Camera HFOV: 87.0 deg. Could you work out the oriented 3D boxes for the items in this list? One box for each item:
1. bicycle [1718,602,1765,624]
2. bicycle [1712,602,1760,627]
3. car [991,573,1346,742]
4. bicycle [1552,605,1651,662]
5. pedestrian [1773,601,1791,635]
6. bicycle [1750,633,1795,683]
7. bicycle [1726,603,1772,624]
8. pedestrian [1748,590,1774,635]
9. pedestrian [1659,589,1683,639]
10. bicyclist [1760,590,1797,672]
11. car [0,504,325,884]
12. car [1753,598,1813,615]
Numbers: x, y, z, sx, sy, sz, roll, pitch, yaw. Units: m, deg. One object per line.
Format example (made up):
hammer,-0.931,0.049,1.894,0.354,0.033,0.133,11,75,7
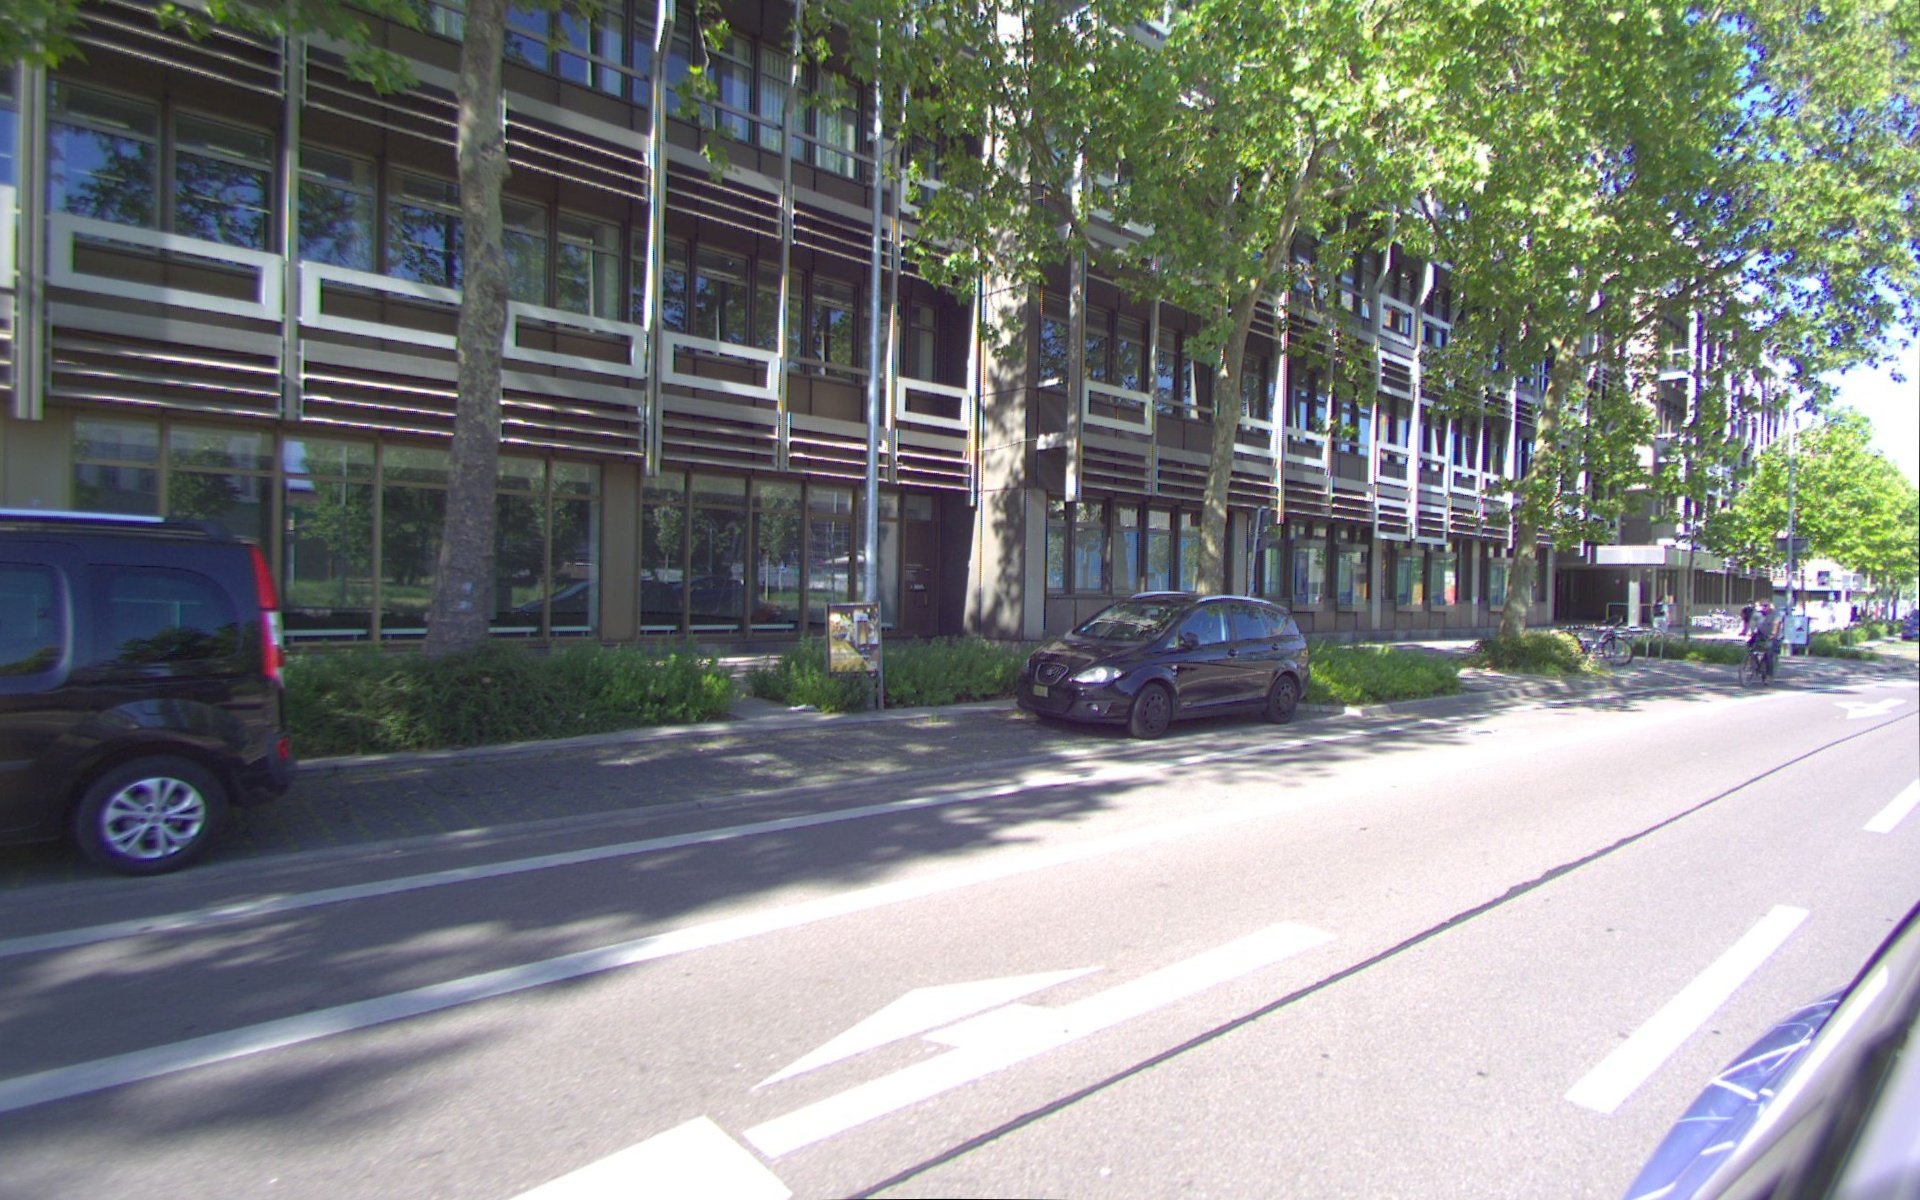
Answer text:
bicycle,40.633,0.682,52.638,0.419,1.023,1.863,1,3,-39
bicycle,39.652,0.729,51.753,0.419,1.111,1.863,1,3,-39
car,2.685,0.586,12.388,4.552,1.663,1.709,1,2,-39
bicycle,15.734,0.809,24.868,0.569,1.252,1.939,1,2,-43
pedestrian,36.360,0.781,44.761,0.723,1.493,0.511,1,0,-41
bicycle,16.466,1.153,20.488,0.497,0.917,2.161,-1,-1,44
bicycle,41.673,0.704,53.461,0.419,0.950,1.863,1,3,-39
pedestrian,31.320,0.492,39.575,0.789,1.750,0.648,1,0,-41
pedestrian,24.767,0.491,35.233,0.760,1.722,0.511,1,0,-41
bicyclist,16.644,0.618,20.583,0.513,1.621,0.528,1,0,45
car,-5.679,0.399,4.970,4.118,1.812,1.708,1,2,-41
car,81.234,0.631,99.948,4.377,1.563,1.831,2,1,34
